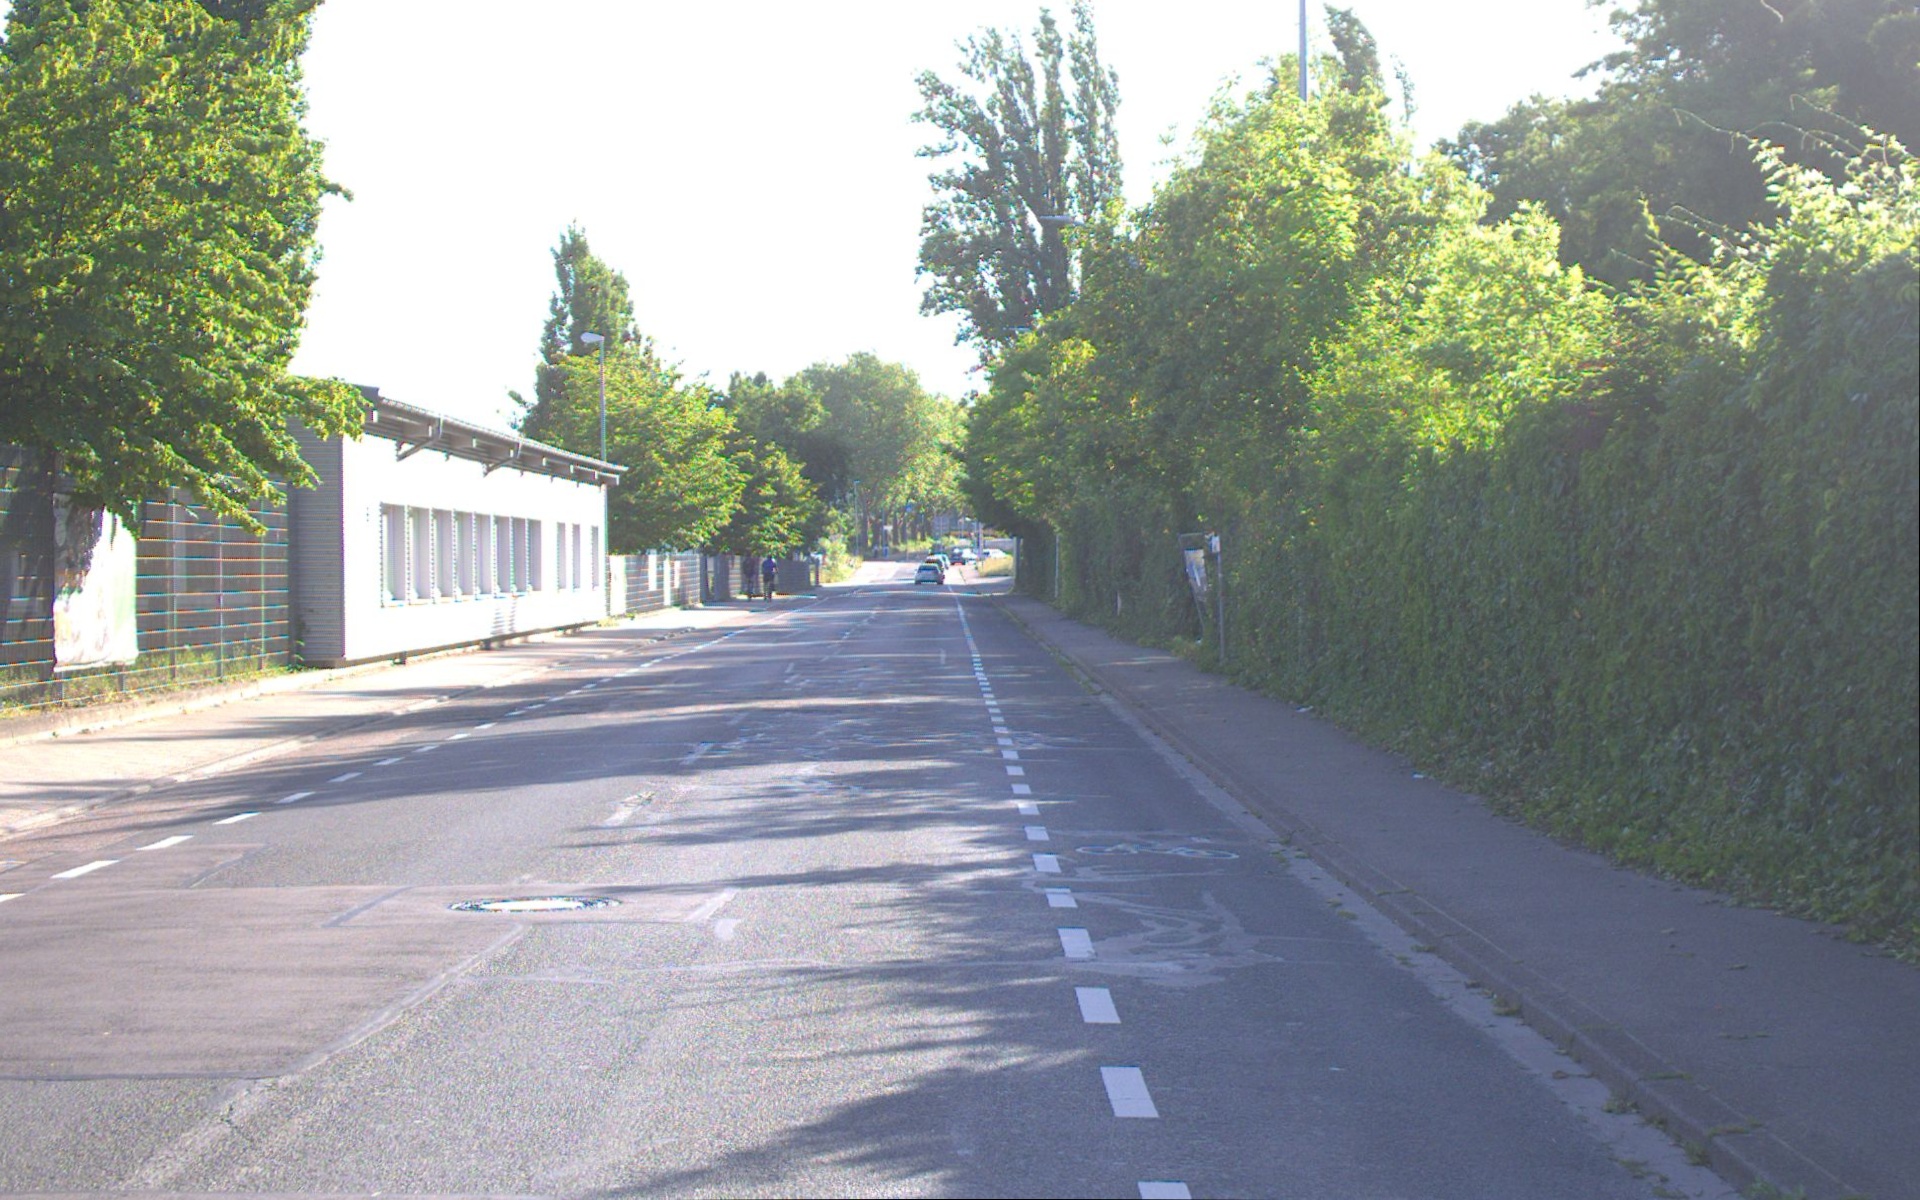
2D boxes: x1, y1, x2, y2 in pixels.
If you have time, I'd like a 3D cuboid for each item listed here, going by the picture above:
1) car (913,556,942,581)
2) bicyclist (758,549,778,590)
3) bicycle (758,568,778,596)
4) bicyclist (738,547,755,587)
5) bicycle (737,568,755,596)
[{"bbox_3d":[-2.239,-2.177,237.946,1.942,1.645,4.310,1,1,0],"label":"car"},{"bbox_3d":[-7.261,-1.157,130.206,0.689,1.527,0.722,1,1,0],"label":"bicyclist"},{"bbox_3d":[-7.275,-0.681,130.236,0.689,1.030,1.351,1,1,0],"label":"bicycle"},{"bbox_3d":[-8.131,-1.259,130.782,0.560,1.528,0.689,1,1,0],"label":"bicyclist"},{"bbox_3d":[-8.142,-0.691,130.866,0.563,1.030,1.351,1,1,0],"label":"bicycle"}]
